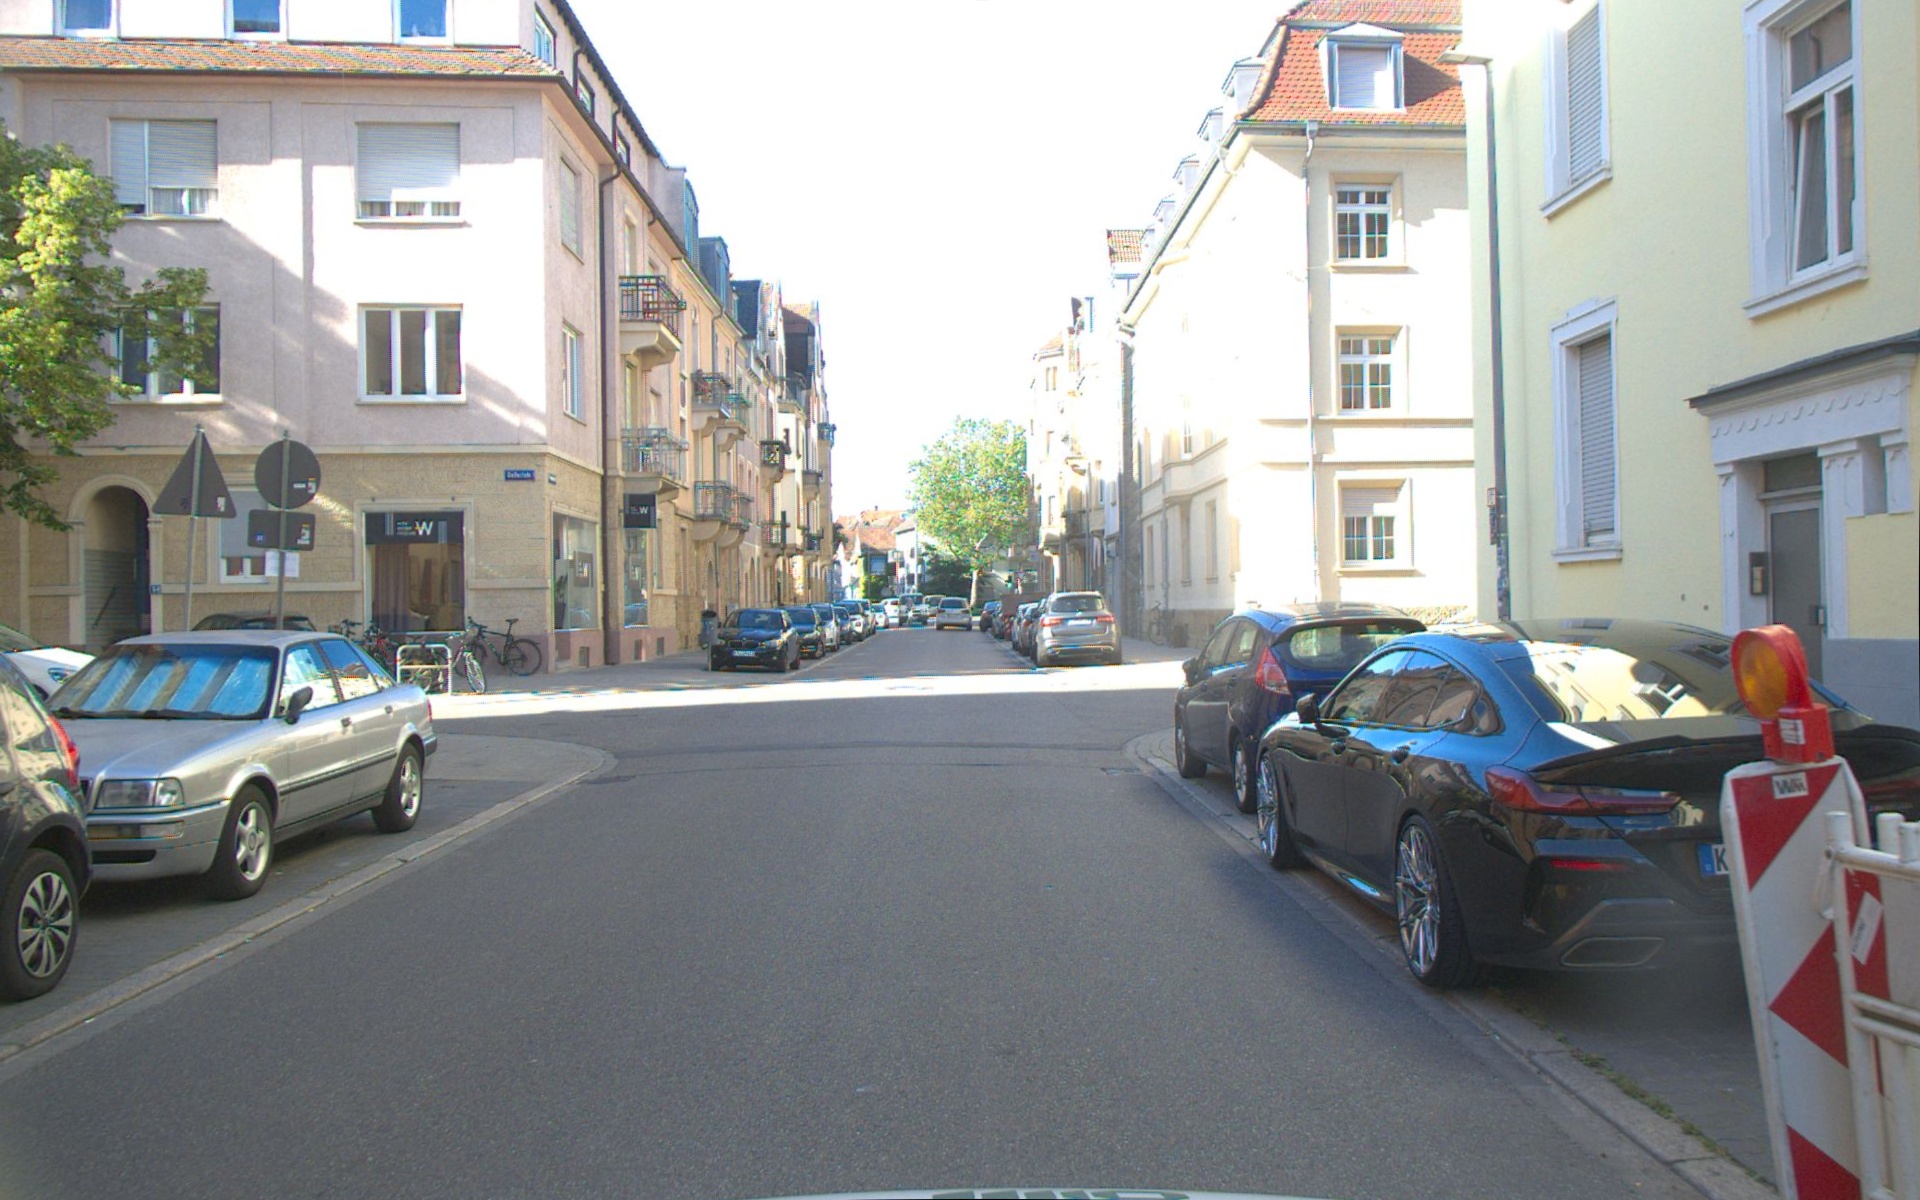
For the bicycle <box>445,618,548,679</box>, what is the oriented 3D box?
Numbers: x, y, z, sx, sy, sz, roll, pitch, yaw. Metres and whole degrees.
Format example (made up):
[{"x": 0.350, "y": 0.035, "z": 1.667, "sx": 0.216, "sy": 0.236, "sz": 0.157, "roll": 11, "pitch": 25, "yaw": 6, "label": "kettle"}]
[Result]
[{"x": -9.089, "y": 0.950, "z": 32.511, "sx": 1.862, "sy": 1.155, "sz": 0.647, "roll": 1, "pitch": 1, "yaw": -8, "label": "bicycle"}]

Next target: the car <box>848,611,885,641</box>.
[{"x": -5.389, "y": 1.501, "z": 95.854, "sx": 1.963, "sy": 1.633, "sz": 4.485, "roll": 2, "pitch": -1, "yaw": -2, "label": "car"}]

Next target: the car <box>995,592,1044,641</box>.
[{"x": 2.371, "y": 0.697, "z": 67.083, "sx": 1.801, "sy": 1.818, "sz": 4.028, "roll": -1, "pitch": -2, "yaw": 0, "label": "car"}]

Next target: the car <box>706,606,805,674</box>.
[{"x": -4.697, "y": 0.926, "z": 38.466, "sx": 1.645, "sy": 1.451, "sz": 4.274, "roll": 2, "pitch": -1, "yaw": 1, "label": "car"}]

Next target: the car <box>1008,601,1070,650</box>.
[{"x": 2.541, "y": 0.867, "z": 54.280, "sx": 1.801, "sy": 1.457, "sz": 4.028, "roll": -2, "pitch": -2, "yaw": 0, "label": "car"}]

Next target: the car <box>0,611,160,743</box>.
[{"x": -12.871, "y": 0.961, "z": 21.228, "sx": 4.350, "sy": 1.620, "sz": 1.724, "roll": 0, "pitch": 0, "yaw": -8, "label": "car"}]

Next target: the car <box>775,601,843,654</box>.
[{"x": -5.099, "y": 0.946, "z": 56.307, "sx": 1.963, "sy": 1.647, "sz": 4.485, "roll": 2, "pitch": -1, "yaw": -2, "label": "car"}]

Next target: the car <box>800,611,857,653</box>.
[{"x": -5.143, "y": 1.266, "z": 65.212, "sx": 1.939, "sy": 1.508, "sz": 4.326, "roll": 2, "pitch": -1, "yaw": -2, "label": "car"}]

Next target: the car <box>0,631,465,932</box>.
[{"x": -4.659, "y": 0.927, "z": 10.308, "sx": 1.726, "sy": 1.402, "sz": 4.478, "roll": 0, "pitch": -1, "yaw": 1, "label": "car"}]

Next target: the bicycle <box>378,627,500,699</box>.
[{"x": -8.821, "y": 1.059, "z": 28.034, "sx": 1.859, "sy": 1.155, "sz": 0.648, "roll": 1, "pitch": 1, "yaw": 0, "label": "bicycle"}]

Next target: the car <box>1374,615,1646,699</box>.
[{"x": 10.171, "y": 1.061, "z": 30.758, "sx": 4.452, "sy": 1.494, "sz": 1.825, "roll": 0, "pitch": -3, "yaw": -8, "label": "car"}]

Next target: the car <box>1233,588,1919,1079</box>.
[{"x": 2.689, "y": 0.755, "z": 7.872, "sx": 1.765, "sy": 1.496, "sz": 5.110, "roll": -3, "pitch": 0, "yaw": -1, "label": "car"}]

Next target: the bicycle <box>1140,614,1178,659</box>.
[{"x": 5.722, "y": 1.038, "z": 47.618, "sx": 0.746, "sy": 1.268, "sz": 2.591, "roll": 0, "pitch": -1, "yaw": -1, "label": "bicycle"}]

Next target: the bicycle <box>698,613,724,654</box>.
[{"x": -8.149, "y": 1.081, "z": 54.102, "sx": 0.530, "sy": 1.324, "sz": 1.866, "roll": 1, "pitch": -1, "yaw": 0, "label": "bicycle"}]

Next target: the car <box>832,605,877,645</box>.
[{"x": -5.155, "y": 1.241, "z": 81.442, "sx": 1.963, "sy": 1.819, "sz": 4.485, "roll": 2, "pitch": -1, "yaw": -2, "label": "car"}]

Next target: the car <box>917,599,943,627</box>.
[{"x": -2.334, "y": 0.993, "z": 128.055, "sx": 1.963, "sy": 2.035, "sz": 4.485, "roll": 2, "pitch": -1, "yaw": -2, "label": "car"}]

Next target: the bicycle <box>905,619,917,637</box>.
[{"x": -2.837, "y": 1.641, "z": 95.927, "sx": 0.649, "sy": 1.037, "sz": 2.065, "roll": -2, "pitch": -1, "yaw": -2, "label": "bicycle"}]

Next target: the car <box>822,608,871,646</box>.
[{"x": -5.144, "y": 1.242, "z": 75.368, "sx": 1.963, "sy": 1.647, "sz": 4.485, "roll": 2, "pitch": -1, "yaw": -2, "label": "car"}]

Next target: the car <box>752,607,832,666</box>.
[{"x": -4.903, "y": 1.083, "z": 48.845, "sx": 1.963, "sy": 1.610, "sz": 4.485, "roll": 2, "pitch": -1, "yaw": -2, "label": "car"}]

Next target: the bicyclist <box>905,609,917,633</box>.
[{"x": -2.838, "y": 1.224, "z": 95.954, "sx": 0.649, "sy": 1.410, "sz": 0.753, "roll": -2, "pitch": -1, "yaw": -2, "label": "bicyclist"}]

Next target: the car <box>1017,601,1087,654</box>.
[{"x": 2.675, "y": 0.839, "z": 48.890, "sx": 1.801, "sy": 1.457, "sz": 4.028, "roll": -2, "pitch": -2, "yaw": 0, "label": "car"}]

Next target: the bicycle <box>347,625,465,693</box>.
[{"x": -9.615, "y": 1.026, "z": 28.740, "sx": 1.859, "sy": 1.155, "sz": 0.526, "roll": 0, "pitch": 1, "yaw": 0, "label": "bicycle"}]

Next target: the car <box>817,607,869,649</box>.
[{"x": -4.914, "y": 1.179, "z": 69.868, "sx": 1.963, "sy": 1.647, "sz": 4.485, "roll": 2, "pitch": -1, "yaw": -2, "label": "car"}]

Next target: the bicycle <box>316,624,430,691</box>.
[{"x": -10.573, "y": 1.031, "z": 29.836, "sx": 1.860, "sy": 1.155, "sz": 0.526, "roll": 0, "pitch": 1, "yaw": -3, "label": "bicycle"}]

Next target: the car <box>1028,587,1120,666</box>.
[{"x": 2.565, "y": 0.659, "z": 38.202, "sx": 1.874, "sy": 1.673, "sz": 4.773, "roll": -2, "pitch": -2, "yaw": 1, "label": "car"}]

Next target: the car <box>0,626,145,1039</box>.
[{"x": -4.421, "y": 0.878, "z": 5.309, "sx": 1.727, "sy": 1.529, "sz": 3.998, "roll": -1, "pitch": 0, "yaw": -2, "label": "car"}]

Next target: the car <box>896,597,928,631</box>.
[{"x": -3.028, "y": 0.923, "z": 104.514, "sx": 1.963, "sy": 2.035, "sz": 4.485, "roll": 2, "pitch": -1, "yaw": -2, "label": "car"}]

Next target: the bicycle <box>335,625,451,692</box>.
[{"x": -10.009, "y": 1.029, "z": 29.246, "sx": 1.860, "sy": 1.155, "sz": 0.526, "roll": 0, "pitch": 1, "yaw": -3, "label": "bicycle"}]

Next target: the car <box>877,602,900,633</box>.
[{"x": -6.320, "y": 1.609, "z": 147.229, "sx": 1.801, "sy": 2.579, "sz": 4.175, "roll": -1, "pitch": -2, "yaw": 0, "label": "car"}]

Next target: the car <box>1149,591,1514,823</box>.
[{"x": 2.780, "y": 0.742, "z": 13.347, "sx": 1.728, "sy": 1.496, "sz": 4.081, "roll": -3, "pitch": 0, "yaw": -4, "label": "car"}]

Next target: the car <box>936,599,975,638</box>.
[{"x": -0.266, "y": 0.988, "z": 87.975, "sx": 1.963, "sy": 1.947, "sz": 4.486, "roll": 2, "pitch": -1, "yaw": -1, "label": "car"}]

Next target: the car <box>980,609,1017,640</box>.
[{"x": 1.976, "y": 1.280, "z": 85.889, "sx": 1.801, "sy": 1.457, "sz": 4.028, "roll": -2, "pitch": -2, "yaw": 0, "label": "car"}]
